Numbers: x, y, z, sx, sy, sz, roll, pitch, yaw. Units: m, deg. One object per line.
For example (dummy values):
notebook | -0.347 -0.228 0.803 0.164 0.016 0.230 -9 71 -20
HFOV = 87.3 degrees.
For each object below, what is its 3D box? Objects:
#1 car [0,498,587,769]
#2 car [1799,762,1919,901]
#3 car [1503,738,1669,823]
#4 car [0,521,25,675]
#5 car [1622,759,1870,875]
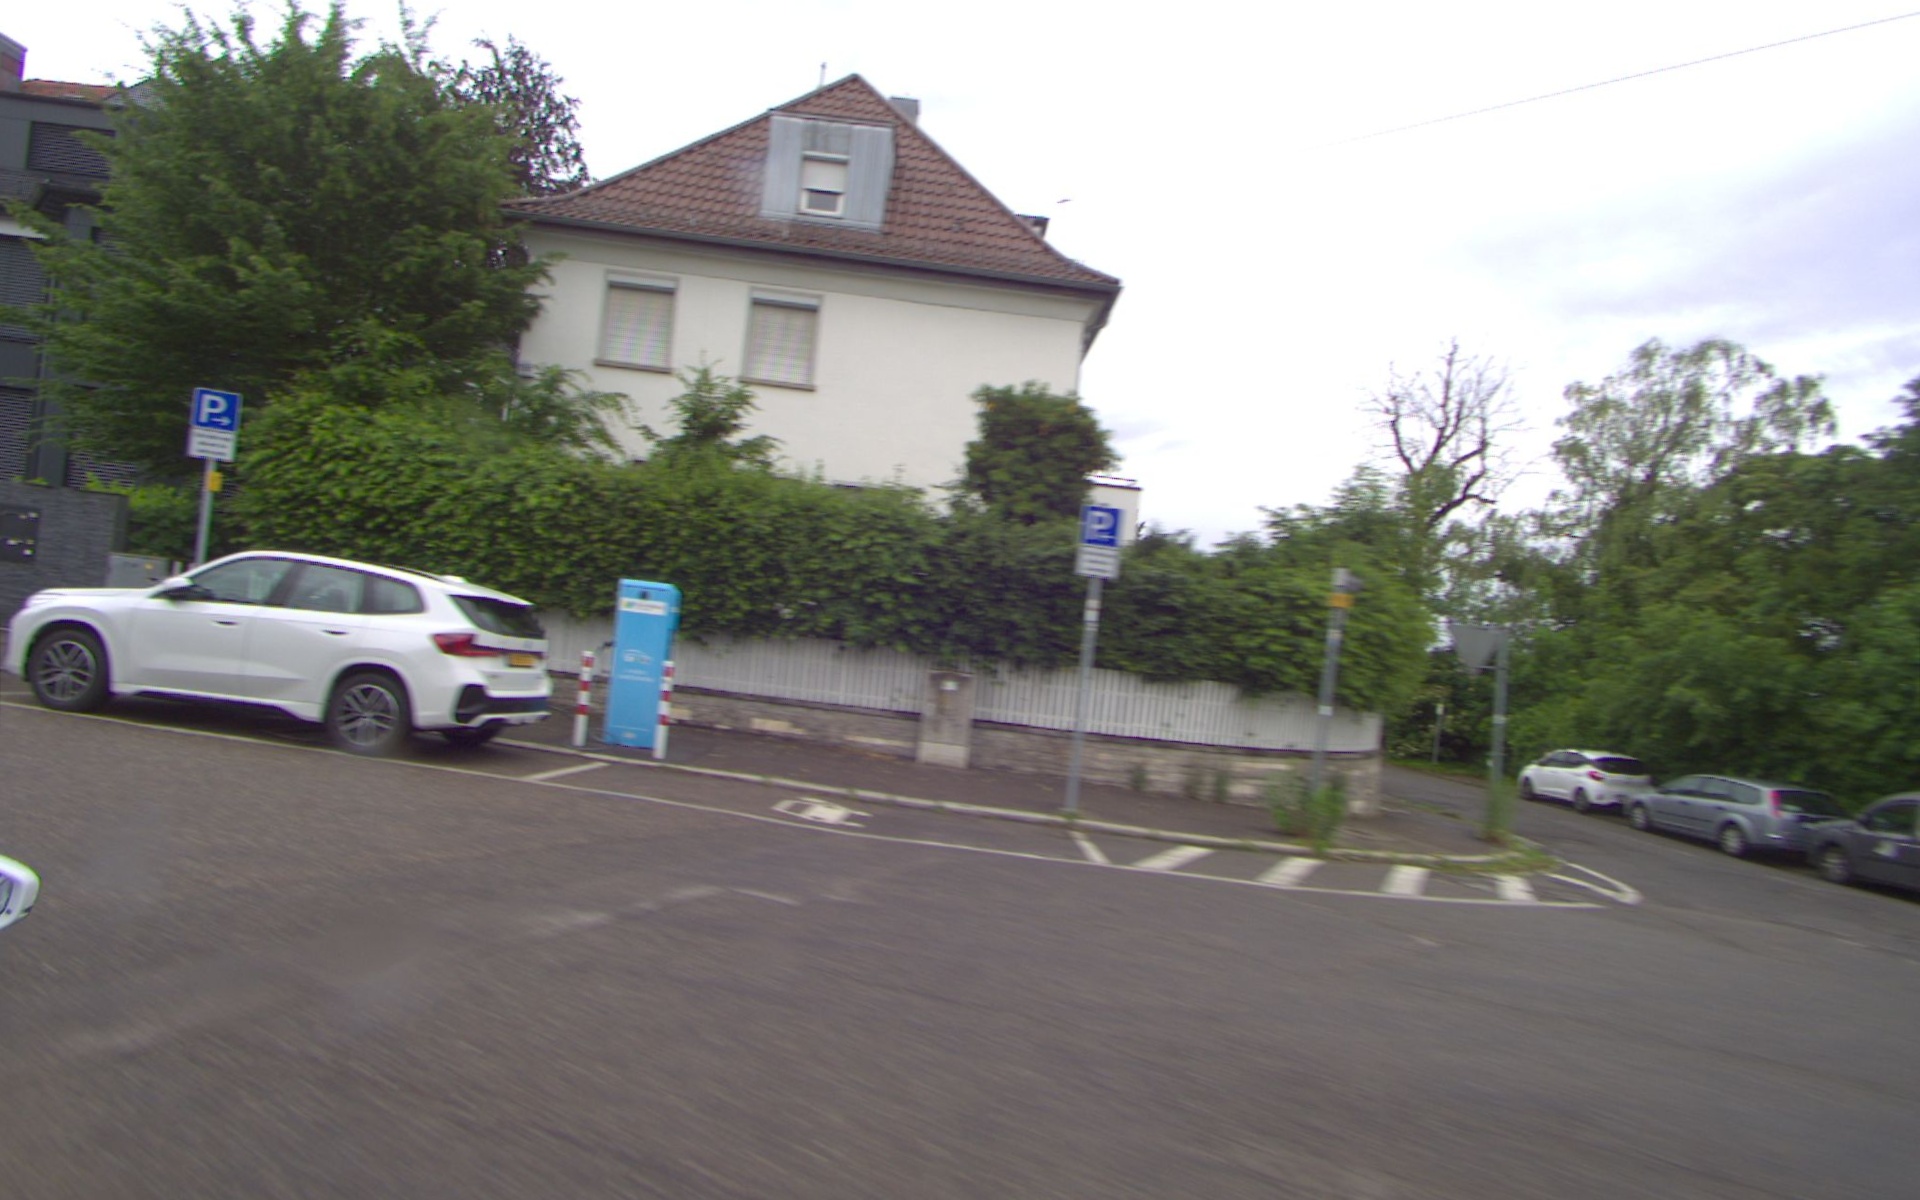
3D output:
car | -6.136 0.305 9.280 4.561 1.691 1.752 8 -3 2
car | 15.456 3.732 15.426 1.738 1.880 4.005 7 -3 2
car | 16.001 4.571 25.981 1.738 1.479 4.005 7 -3 1
car | -11.448 -0.288 9.612 3.474 1.554 1.619 7 -3 5
car | 15.653 4.268 20.350 1.739 1.479 4.004 7 -3 0
